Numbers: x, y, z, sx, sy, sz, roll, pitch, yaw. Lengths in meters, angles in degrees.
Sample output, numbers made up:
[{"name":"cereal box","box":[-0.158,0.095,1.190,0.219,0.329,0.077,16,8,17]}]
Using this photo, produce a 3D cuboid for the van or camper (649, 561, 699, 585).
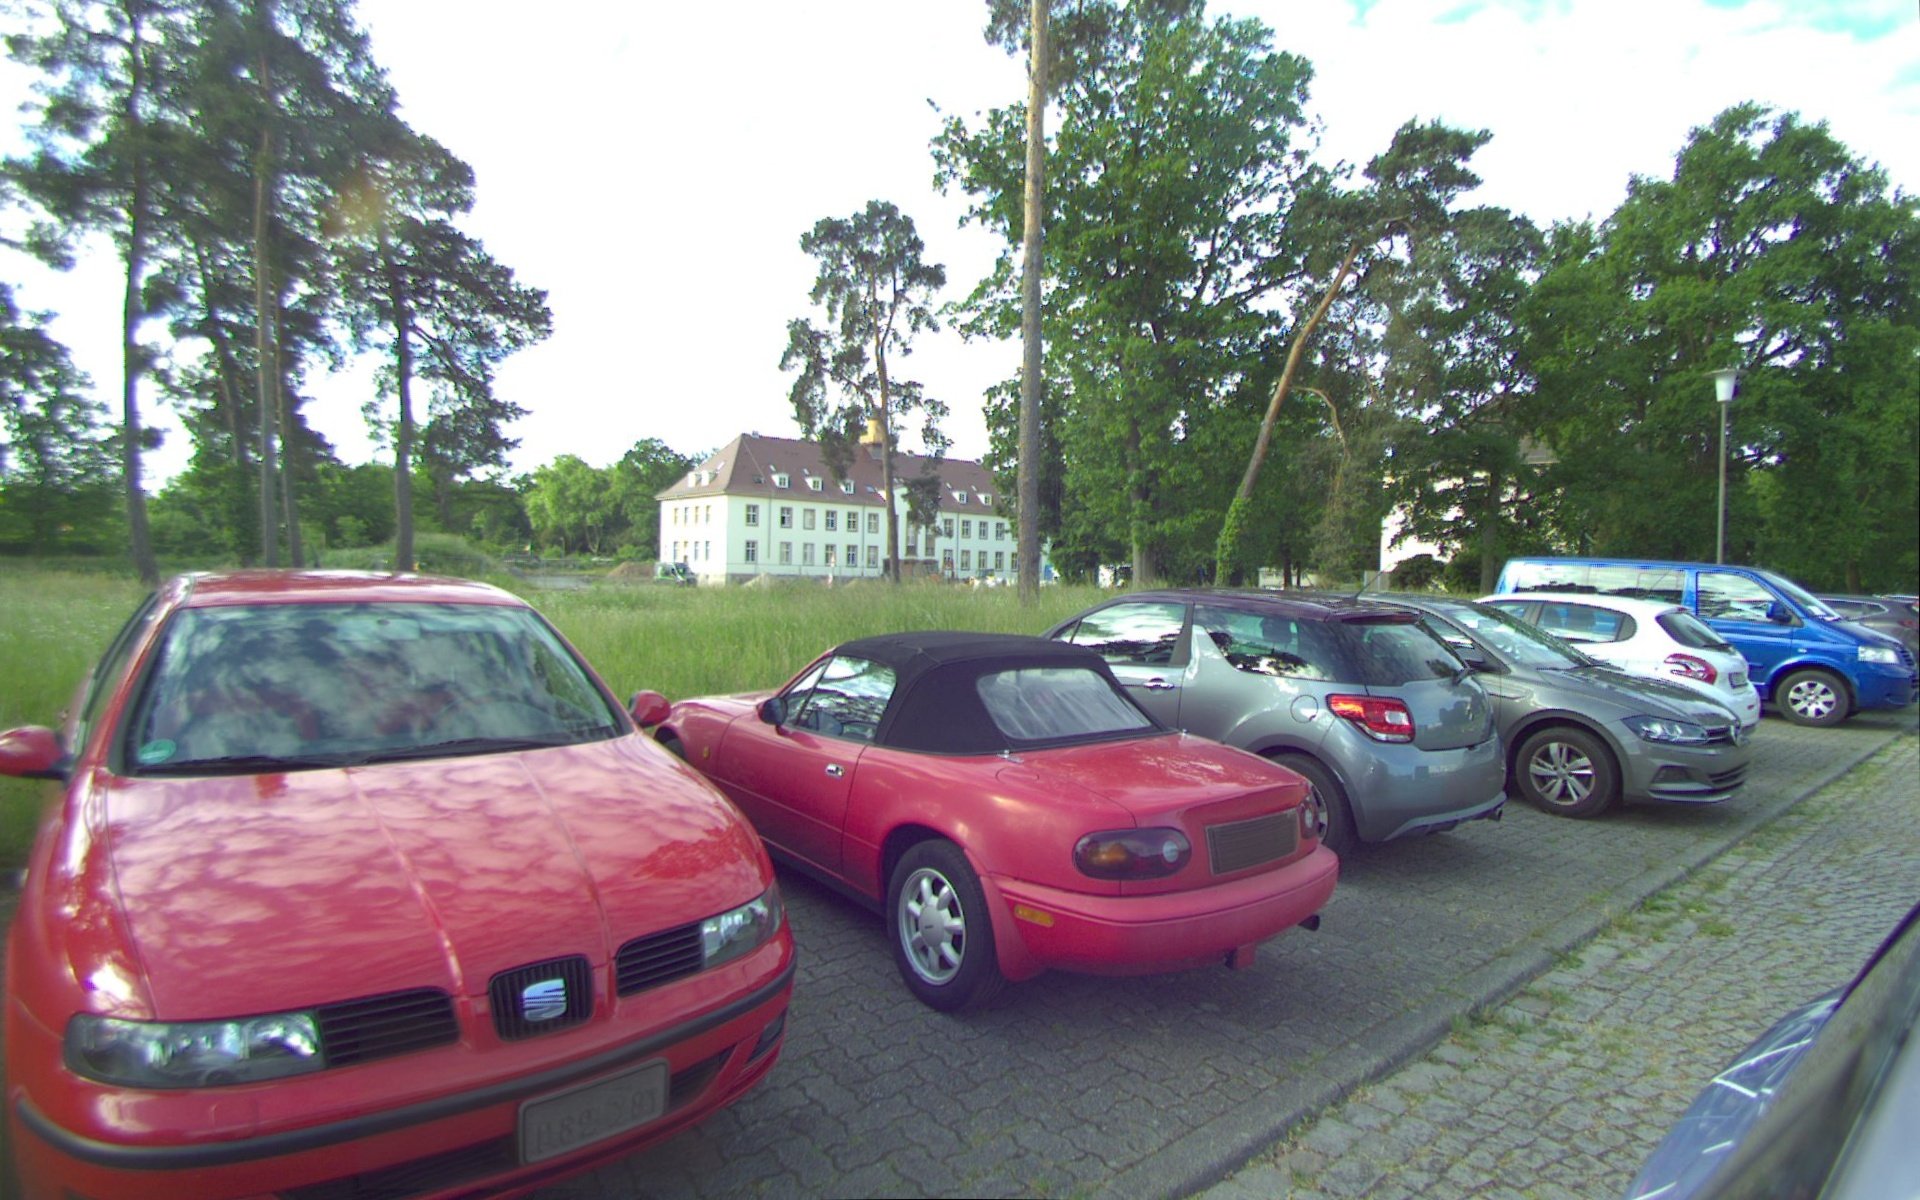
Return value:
[{"name":"van or camper","box":[-28.292,-2.642,100.044,6.063,2.250,1.969,3,2,43]}]

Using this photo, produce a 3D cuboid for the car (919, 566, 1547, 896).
[{"name":"car","box":[1.526,0.571,6.769,1.576,1.522,3.836,0,2,-40]}]

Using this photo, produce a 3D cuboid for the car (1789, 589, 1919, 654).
[{"name":"car","box":[24.017,0.540,26.163,1.555,1.544,3.832,0,2,-43]}]

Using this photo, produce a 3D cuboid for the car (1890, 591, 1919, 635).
[{"name":"car","box":[35.557,0.514,35.649,1.642,1.548,3.841,0,2,-35]}]

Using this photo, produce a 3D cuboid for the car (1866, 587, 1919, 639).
[{"name":"car","box":[31.969,0.446,32.642,1.551,1.638,3.841,0,2,-35]}]

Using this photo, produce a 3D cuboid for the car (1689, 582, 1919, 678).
[{"name":"car","box":[16.450,0.512,19.356,1.555,1.621,3.832,0,2,-43]}]

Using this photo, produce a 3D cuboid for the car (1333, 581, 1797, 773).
[{"name":"car","box":[5.967,0.609,10.368,1.552,1.517,3.763,0,2,-38]}]

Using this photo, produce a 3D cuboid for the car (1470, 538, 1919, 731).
[{"name":"car","box":[10.008,0.273,13.826,2.023,2.047,4.955,0,4,-39]}]

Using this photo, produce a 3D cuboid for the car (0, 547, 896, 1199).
[{"name":"car","box":[-2.121,0.568,3.627,1.689,1.440,4.117,0,2,-39]}]

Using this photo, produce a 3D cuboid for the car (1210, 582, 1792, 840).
[{"name":"car","box":[4.062,0.649,8.128,1.613,1.483,3.782,0,2,-38]}]

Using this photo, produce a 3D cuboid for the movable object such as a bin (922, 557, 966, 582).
[{"name":"movable object such as a bin","box":[-1.858,-3.541,117.030,1.994,2.802,5.121,2,2,44]}]

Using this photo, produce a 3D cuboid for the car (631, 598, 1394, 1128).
[{"name":"car","box":[-0.107,0.721,4.663,1.579,1.302,3.556,-1,3,-38]}]
